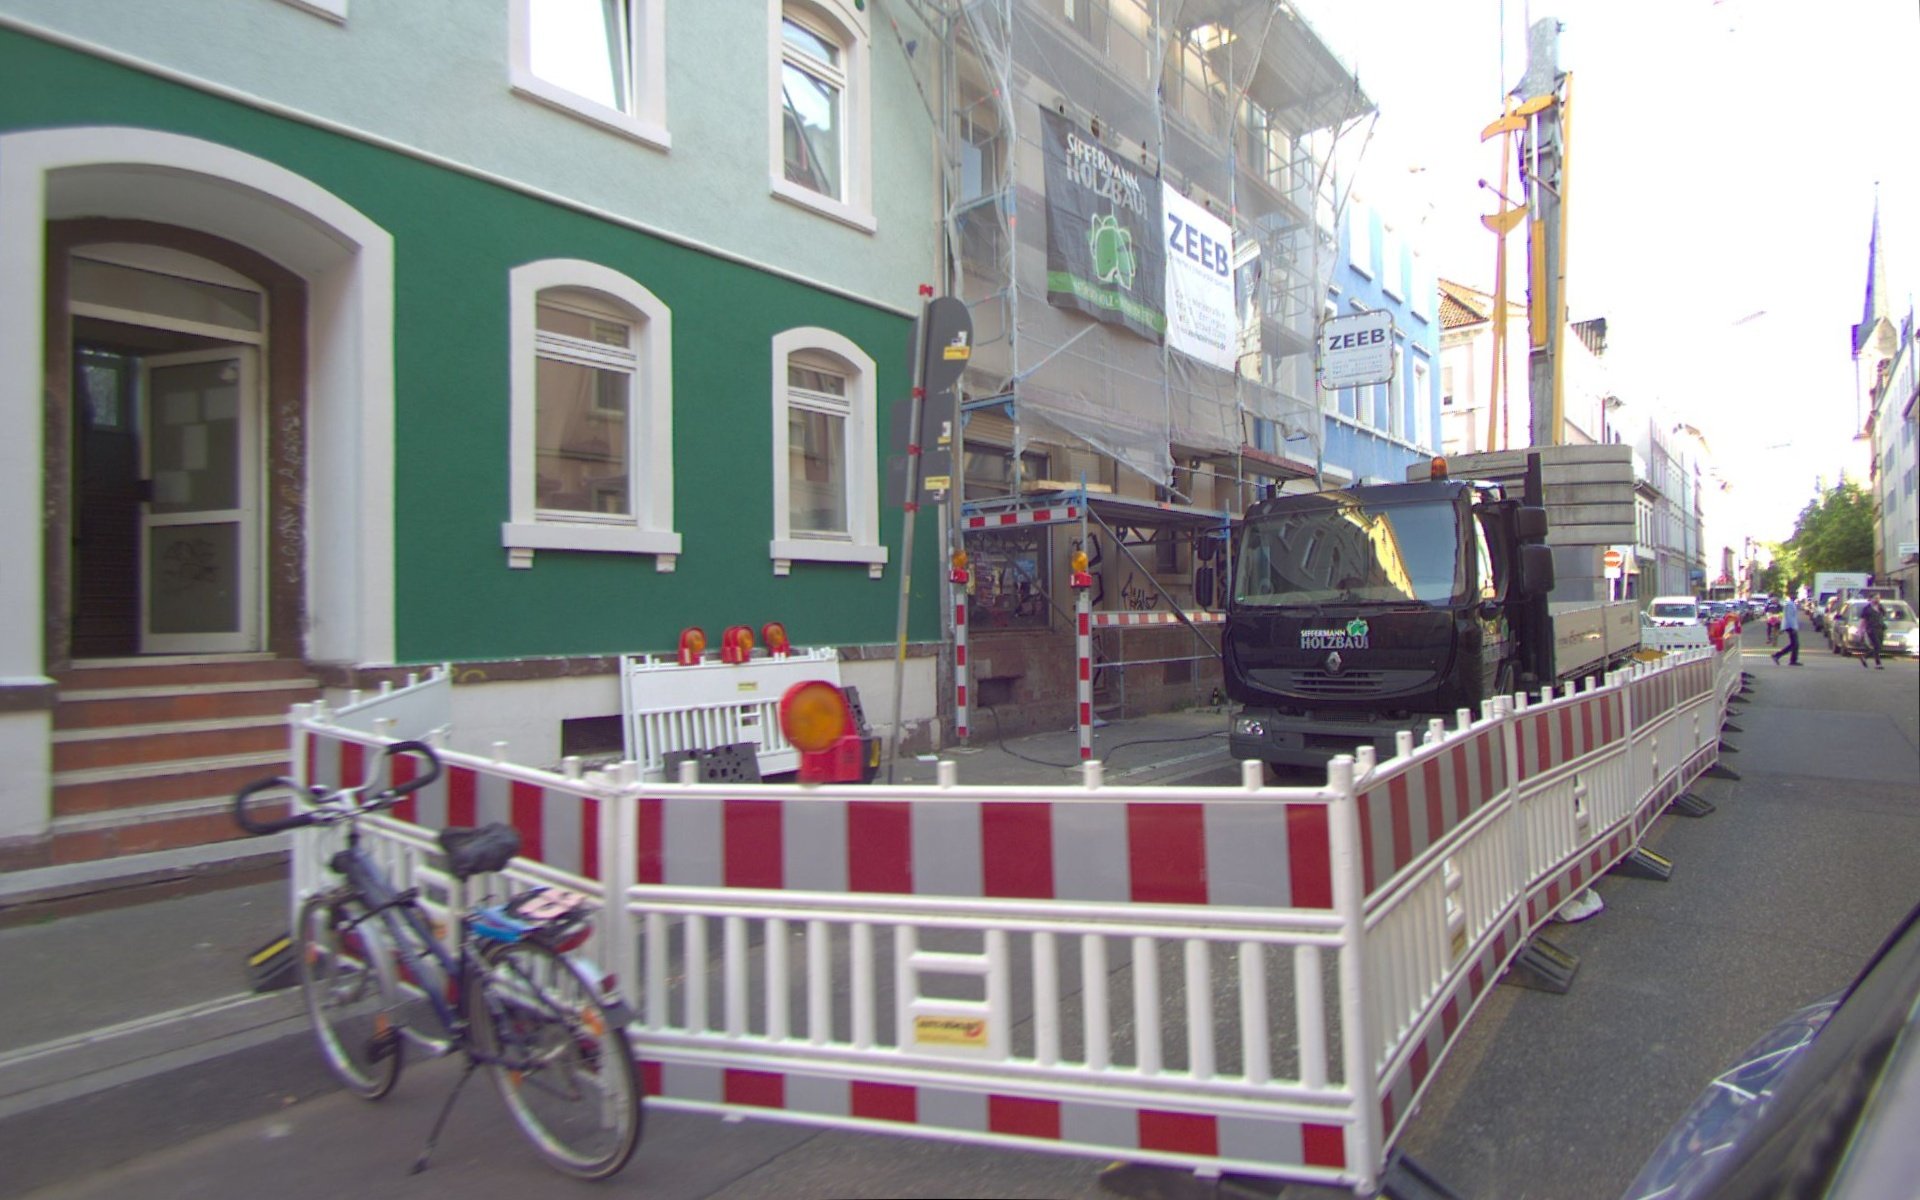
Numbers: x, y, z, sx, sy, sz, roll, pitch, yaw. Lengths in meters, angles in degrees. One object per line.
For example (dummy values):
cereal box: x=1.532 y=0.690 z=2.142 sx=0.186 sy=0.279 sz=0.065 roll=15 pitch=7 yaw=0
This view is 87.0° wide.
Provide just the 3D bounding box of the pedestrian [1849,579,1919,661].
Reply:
pedestrian: x=21.252 y=0.436 z=23.288 sx=0.817 sy=1.815 sz=0.985 roll=1 pitch=1 yaw=17

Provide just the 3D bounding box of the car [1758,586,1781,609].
car: x=103.162 y=-0.331 z=129.013 sx=1.988 sy=2.829 sz=4.504 roll=-3 pitch=-1 yaw=37

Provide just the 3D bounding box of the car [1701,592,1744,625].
car: x=42.046 y=0.439 z=55.764 sx=1.707 sy=1.752 sz=4.345 roll=0 pitch=1 yaw=40

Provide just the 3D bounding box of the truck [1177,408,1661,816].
truck: x=5.305 y=0.084 z=10.720 sx=2.658 sy=2.850 sz=7.285 roll=-3 pitch=-1 yaw=40

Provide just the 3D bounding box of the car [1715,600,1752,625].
car: x=47.150 y=0.709 z=61.660 sx=1.606 sy=1.413 sz=3.826 roll=0 pitch=1 yaw=40

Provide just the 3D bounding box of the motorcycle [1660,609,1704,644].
motorcycle: x=25.071 y=0.916 z=35.134 sx=1.960 sy=1.099 sz=0.720 roll=-1 pitch=3 yaw=-39

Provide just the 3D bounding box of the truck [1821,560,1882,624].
truck: x=47.721 y=-0.422 z=54.237 sx=2.288 sy=3.223 sz=6.940 roll=-1 pitch=0 yaw=41

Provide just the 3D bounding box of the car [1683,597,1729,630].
car: x=36.770 y=0.624 z=49.842 sx=1.614 sy=1.523 sz=3.718 roll=0 pitch=1 yaw=40

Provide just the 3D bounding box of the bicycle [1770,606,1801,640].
bicycle: x=28.445 y=0.791 z=34.877 sx=0.707 sy=1.126 sz=1.905 roll=-2 pitch=-1 yaw=42

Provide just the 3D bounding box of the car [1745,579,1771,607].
car: x=86.298 y=-0.767 z=109.492 sx=1.988 sy=2.829 sz=4.504 roll=-3 pitch=-1 yaw=37

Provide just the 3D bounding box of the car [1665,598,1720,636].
car: x=30.269 y=0.673 z=41.784 sx=1.606 sy=1.426 sz=3.826 roll=0 pitch=1 yaw=40

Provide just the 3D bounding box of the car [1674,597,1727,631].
car: x=34.097 y=0.606 z=46.555 sx=1.729 sy=1.413 sz=3.826 roll=0 pitch=1 yaw=40

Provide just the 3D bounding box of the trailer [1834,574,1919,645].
trailer: x=28.968 y=0.242 z=32.065 sx=1.658 sy=2.087 sz=4.305 roll=0 pitch=1 yaw=37

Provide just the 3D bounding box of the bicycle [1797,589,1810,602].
bicycle: x=115.914 y=-0.650 z=139.083 sx=1.013 sy=1.672 sz=3.503 roll=-3 pitch=-1 yaw=35

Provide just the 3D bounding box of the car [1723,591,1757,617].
car: x=54.410 y=0.256 z=70.560 sx=1.707 sy=1.752 sz=4.160 roll=0 pitch=1 yaw=40

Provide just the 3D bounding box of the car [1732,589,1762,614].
car: x=61.999 y=0.087 z=79.716 sx=1.707 sy=1.835 sz=4.160 roll=0 pitch=1 yaw=40

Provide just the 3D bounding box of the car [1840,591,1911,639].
car: x=32.249 y=0.496 z=35.729 sx=1.674 sy=1.574 sz=3.763 roll=0 pitch=1 yaw=40

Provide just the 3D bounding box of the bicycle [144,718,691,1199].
bicycle: x=-1.675 y=0.966 z=2.986 sx=1.842 sy=1.124 sz=0.636 roll=-3 pitch=-2 yaw=34

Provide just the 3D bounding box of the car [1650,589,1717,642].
car: x=27.229 y=0.531 z=38.025 sx=1.746 sy=1.839 sz=4.307 roll=0 pitch=1 yaw=40

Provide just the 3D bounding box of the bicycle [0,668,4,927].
bicycle: x=-5.074 y=0.880 z=4.017 sx=0.654 sy=1.142 sz=1.808 roll=4 pitch=3 yaw=40

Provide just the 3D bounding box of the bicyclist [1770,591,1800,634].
bicyclist: x=28.414 y=0.431 z=34.855 sx=0.708 sy=1.454 sz=0.777 roll=-2 pitch=-1 yaw=42

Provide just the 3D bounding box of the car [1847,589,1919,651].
car: x=25.936 y=0.524 z=28.136 sx=1.719 sy=1.626 sz=4.108 roll=0 pitch=0 yaw=38

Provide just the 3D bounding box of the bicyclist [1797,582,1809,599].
bicyclist: x=115.857 y=-1.273 z=139.111 sx=1.013 sy=2.323 sz=1.513 roll=-3 pitch=-2 yaw=35

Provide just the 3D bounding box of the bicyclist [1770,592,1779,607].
bicyclist: x=93.136 y=-0.051 z=115.716 sx=0.712 sy=1.681 sz=0.865 roll=-3 pitch=-2 yaw=38

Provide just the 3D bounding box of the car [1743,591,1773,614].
car: x=75.628 y=0.209 z=95.989 sx=1.988 sy=2.039 sz=4.504 roll=-3 pitch=-1 yaw=37

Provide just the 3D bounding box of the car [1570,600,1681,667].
car: x=16.086 y=0.768 z=24.386 sx=1.768 sy=1.452 sz=3.976 roll=-3 pitch=-1 yaw=40

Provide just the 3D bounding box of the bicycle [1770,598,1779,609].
bicycle: x=93.132 y=0.391 z=115.682 sx=0.725 sy=1.195 sz=2.455 roll=-3 pitch=-1 yaw=38

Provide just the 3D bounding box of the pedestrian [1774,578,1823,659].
pedestrian: x=19.889 y=0.429 z=24.012 sx=0.769 sy=1.873 sz=0.768 roll=-4 pitch=-2 yaw=44
